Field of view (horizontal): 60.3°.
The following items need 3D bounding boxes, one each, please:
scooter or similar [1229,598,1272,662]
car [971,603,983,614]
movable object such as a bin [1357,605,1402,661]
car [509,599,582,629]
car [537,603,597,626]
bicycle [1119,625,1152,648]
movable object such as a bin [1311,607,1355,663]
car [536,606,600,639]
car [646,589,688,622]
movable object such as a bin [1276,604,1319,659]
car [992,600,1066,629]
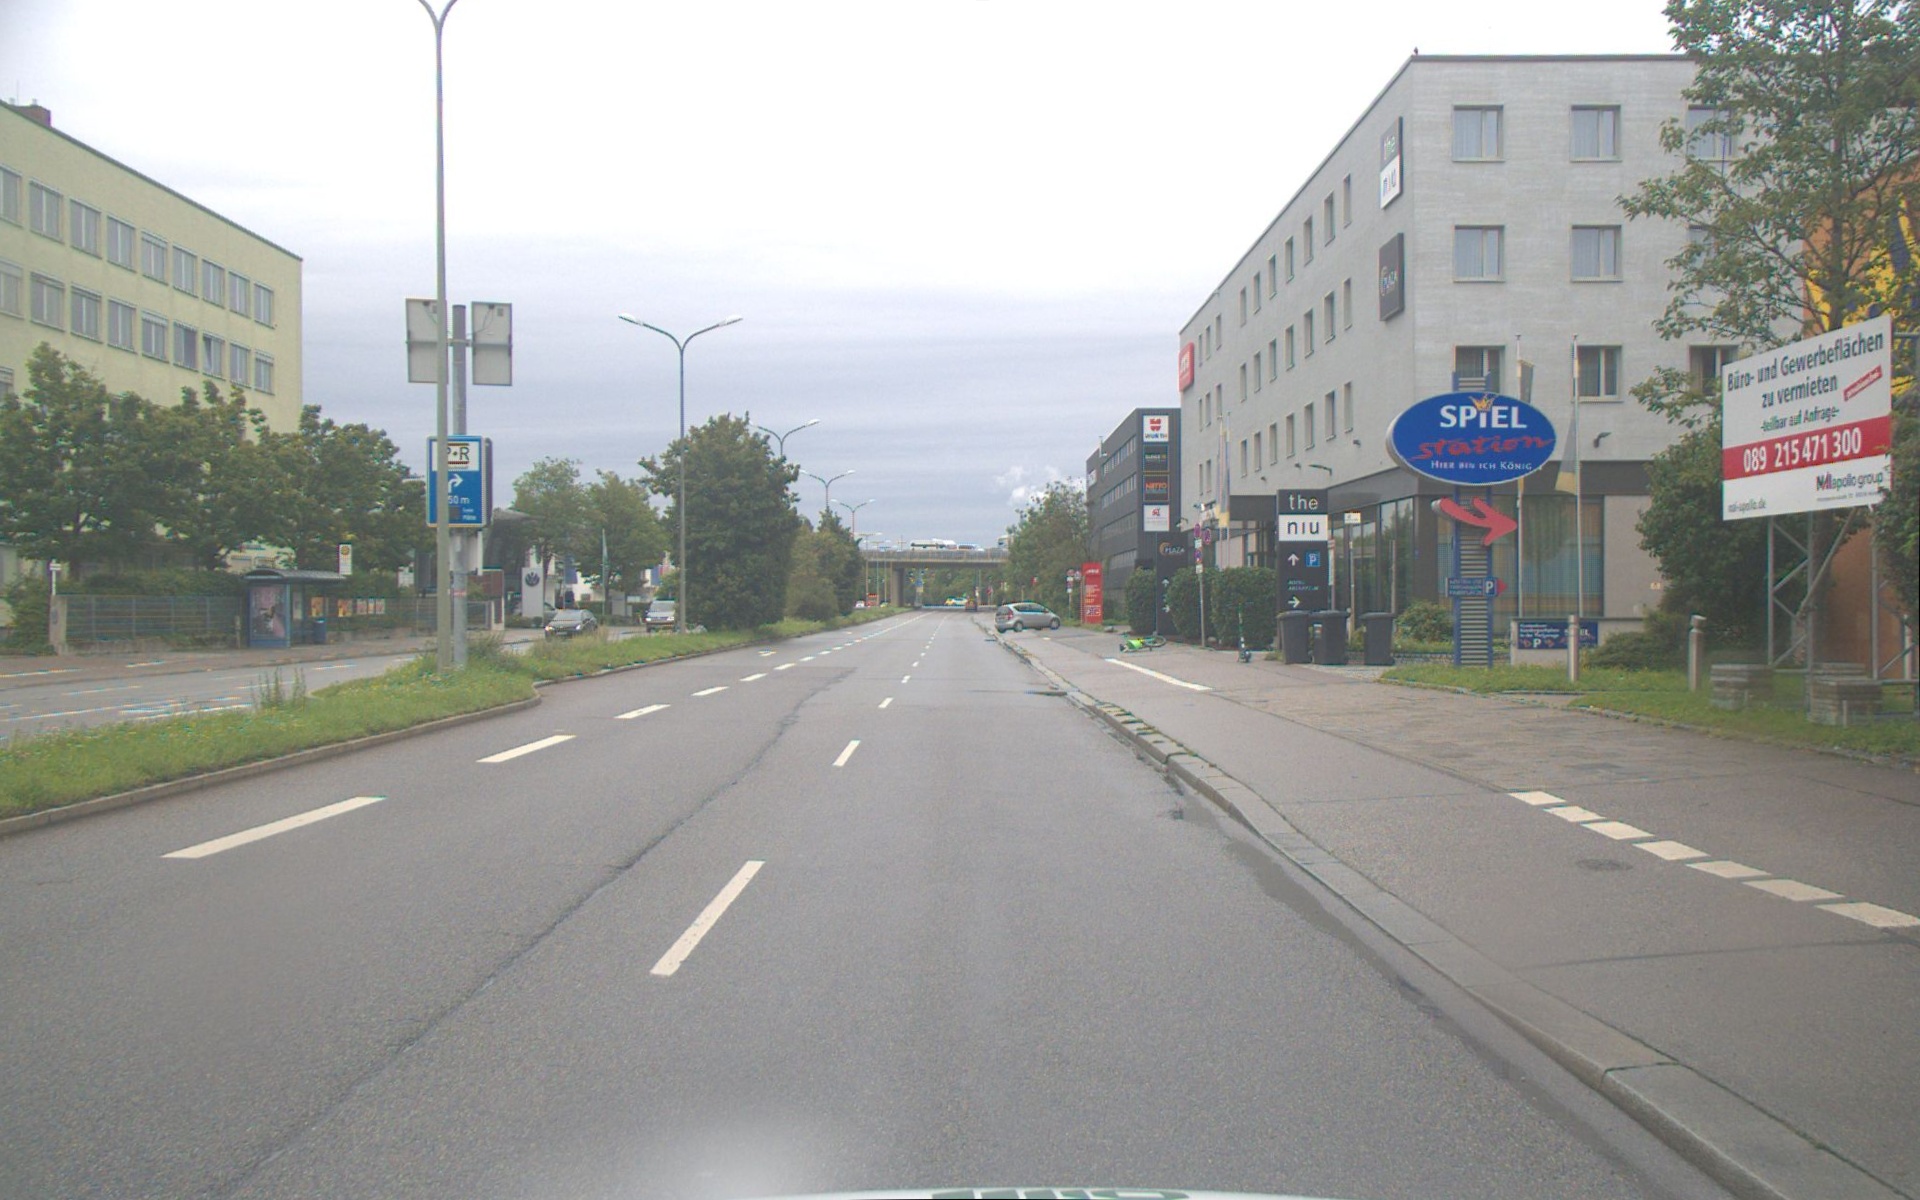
[{"bbox_3d":[6.256,0.629,35.706,0.574,1.299,1.404,-5,0,0],"label":"scooter or similar"},{"bbox_3d":[2.497,1.188,244.002,1.700,1.575,4.303,1,0,-1],"label":"car"},{"bbox_3d":[8.488,0.654,33.491,0.722,1.097,0.655,-2,0,0],"label":"movable object such as a bin"},{"bbox_3d":[-28.100,0.931,112.230,4.570,1.874,1.788,-2,0,-24],"label":"car"},{"bbox_3d":[-28.726,1.045,121.034,3.905,1.535,1.801,-2,0,21],"label":"car"},{"bbox_3d":[4.938,1.035,46.630,0.705,0.558,1.732,-4,0,-1],"label":"bicycle"},{"bbox_3d":[7.489,0.693,33.234,0.722,1.097,0.655,-2,0,0],"label":"movable object such as a bin"},{"bbox_3d":[-18.399,1.040,77.770,1.953,1.426,4.653,-2,0,-1],"label":"car"},{"bbox_3d":[-18.593,0.334,105.240,1.953,1.995,4.323,-2,0,-1],"label":"car"},{"bbox_3d":[6.917,0.639,33.911,0.722,1.097,0.655,-2,0,0],"label":"movable object such as a bin"},{"bbox_3d":[3.849,0.794,92.132,3.989,1.585,1.794,0,0,-40],"label":"car"}]
